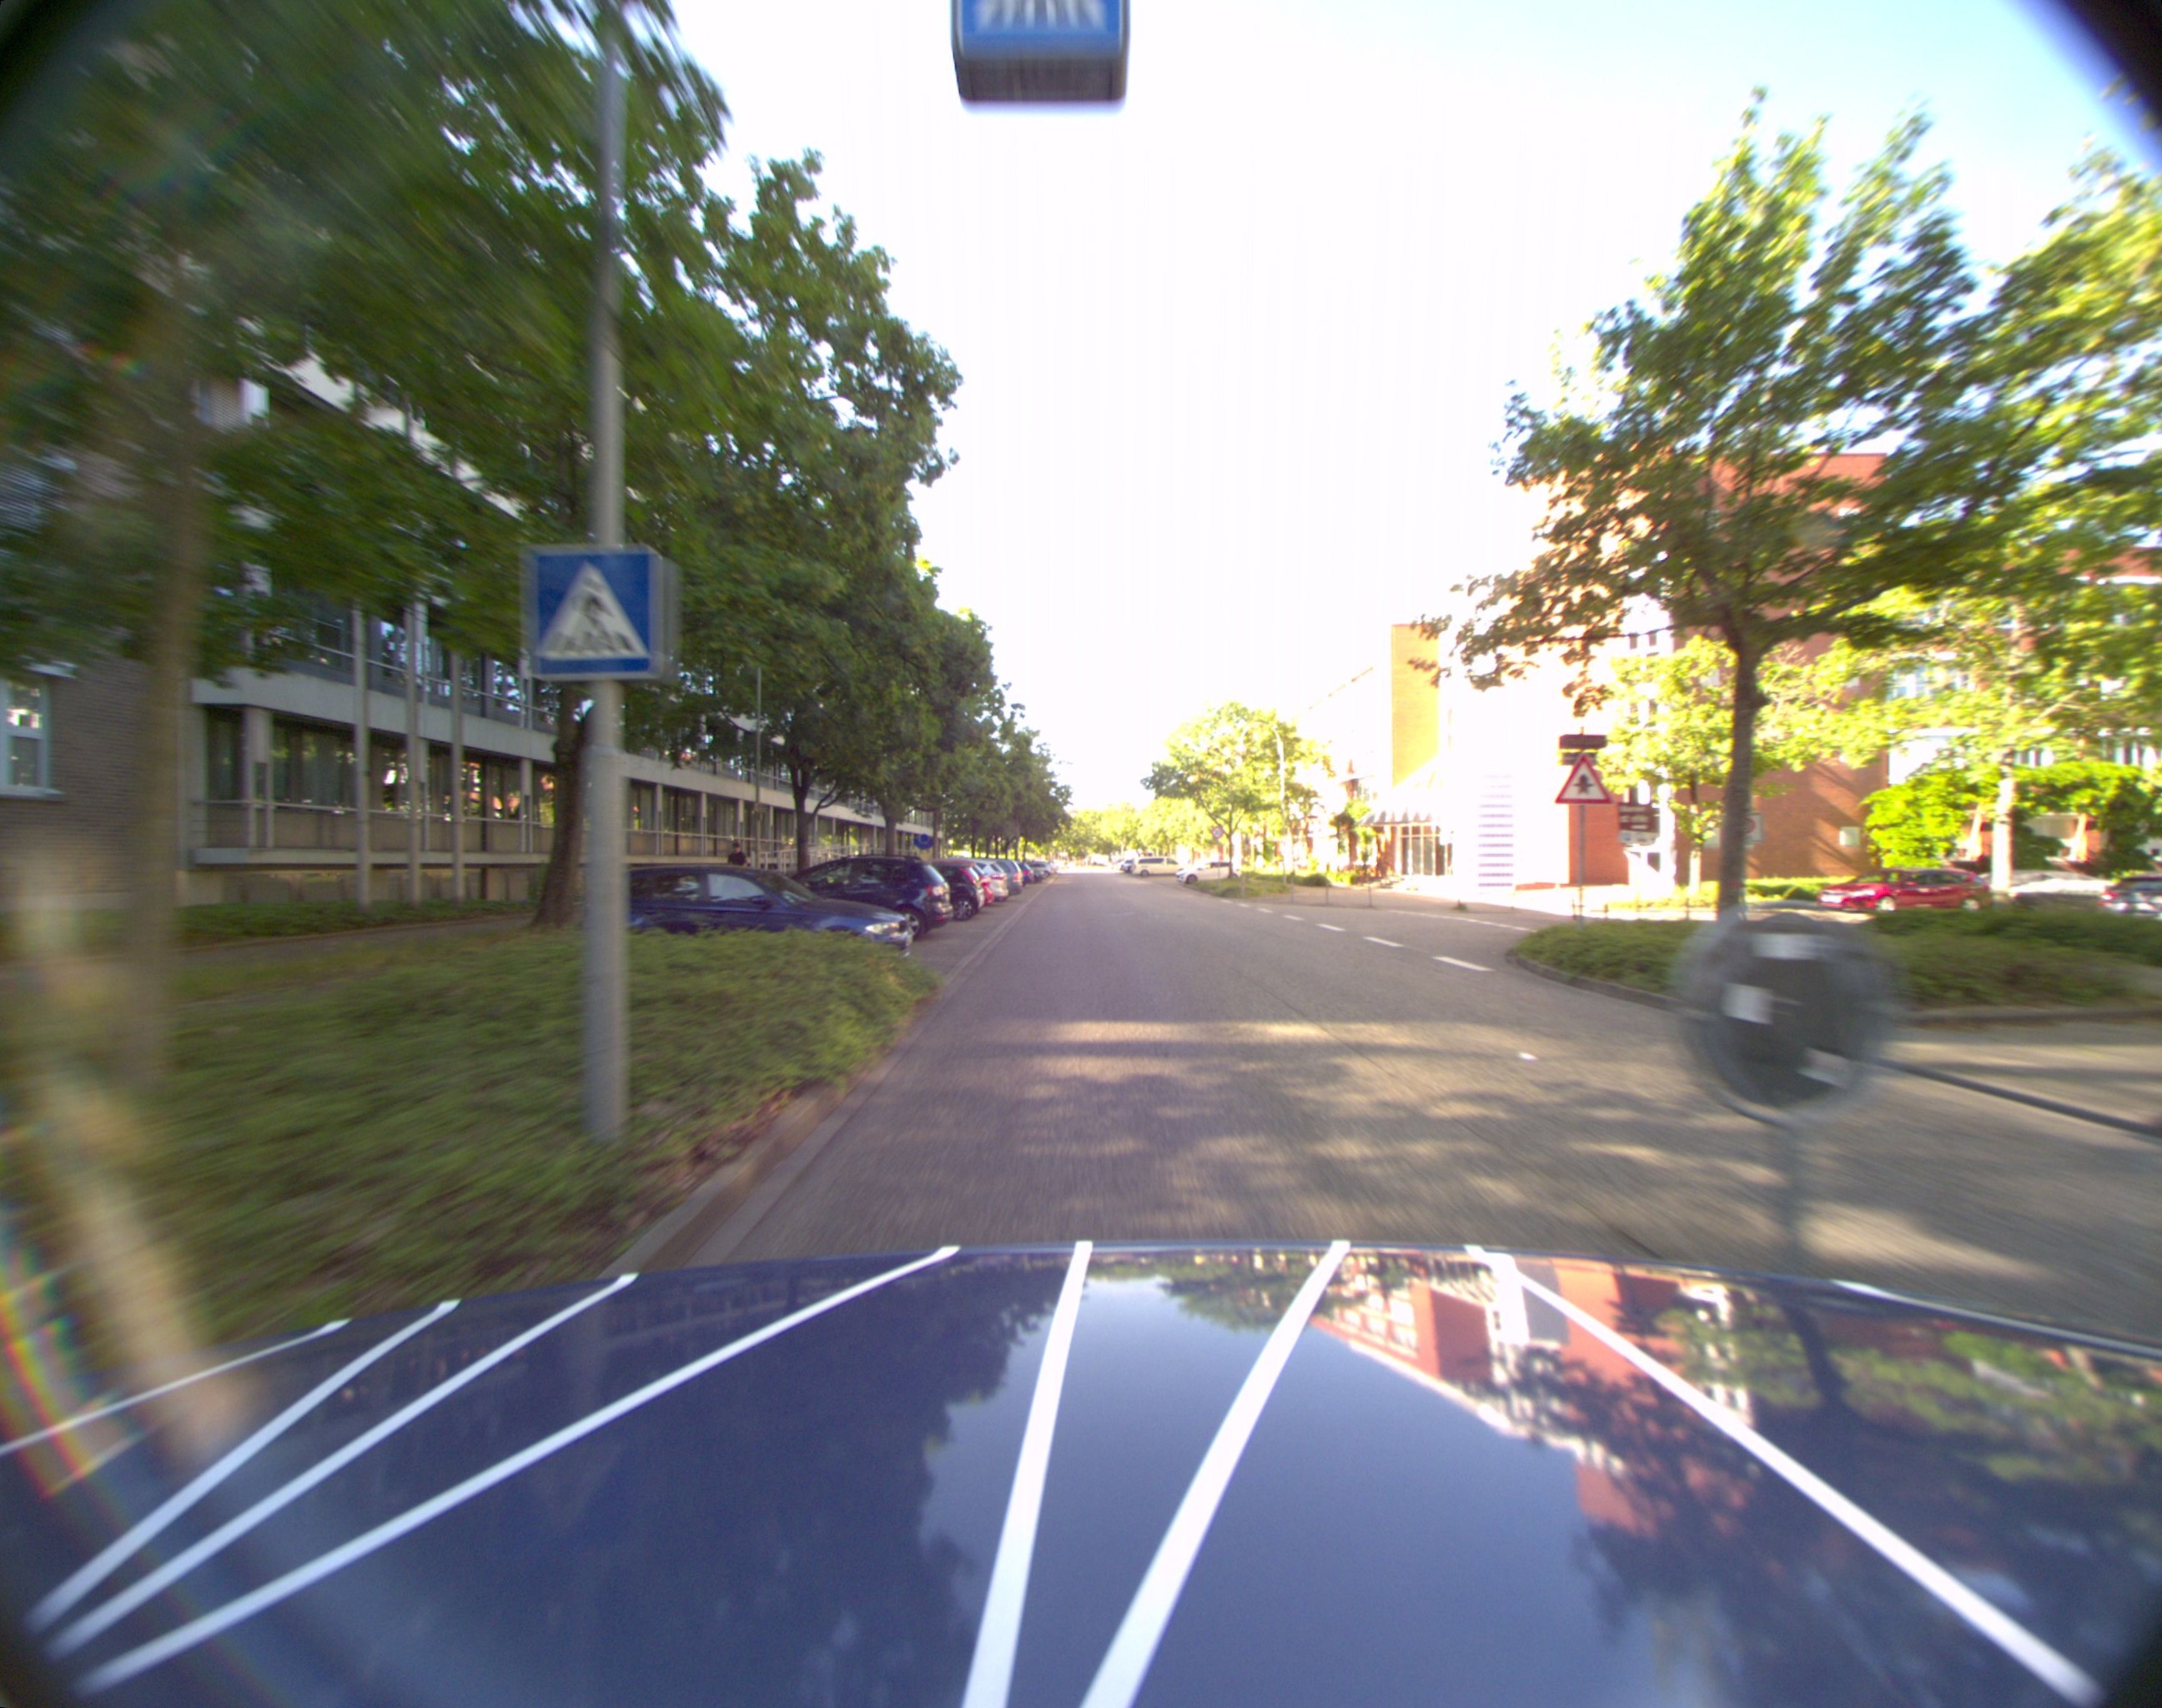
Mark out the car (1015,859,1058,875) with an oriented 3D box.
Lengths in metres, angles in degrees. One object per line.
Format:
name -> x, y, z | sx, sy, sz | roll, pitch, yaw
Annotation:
car -> -4.261, 1.239, 72.936 | 3.998, 1.470, 1.804 | 0, 0, -3

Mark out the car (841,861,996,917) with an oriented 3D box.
car -> -4.531, 0.962, 21.755 | 4.137, 1.508, 1.836 | 0, 0, -5

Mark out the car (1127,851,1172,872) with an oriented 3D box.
car -> 7.357, 0.764, 81.447 | 4.634, 2.156, 2.000 | 0, 0, 1

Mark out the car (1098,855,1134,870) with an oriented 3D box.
car -> 3.928, 0.985, 85.558 | 4.007, 1.637, 1.795 | 0, 0, 1

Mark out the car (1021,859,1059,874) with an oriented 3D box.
car -> -4.361, 1.288, 80.785 | 3.998, 1.470, 1.804 | 1, 0, -3

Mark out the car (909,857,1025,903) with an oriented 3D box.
car -> -4.191, 0.944, 28.455 | 4.137, 1.657, 1.907 | 0, 0, -5

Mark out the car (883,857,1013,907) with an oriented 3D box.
car -> -4.376, 0.911, 25.396 | 3.997, 1.575, 1.714 | 0, 0, 1

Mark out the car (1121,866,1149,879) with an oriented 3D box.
car -> 6.907, 2.368, 97.700 | 3.451, 1.647, 1.594 | 0, 0, -1

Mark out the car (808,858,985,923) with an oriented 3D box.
car -> -4.584, 0.904, 19.383 | 4.137, 1.452, 1.659 | 2, 0, -5

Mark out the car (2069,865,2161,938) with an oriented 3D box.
car -> 24.927, 0.992, 16.496 | 4.721, 1.499, 1.847 | 0, 0, -2

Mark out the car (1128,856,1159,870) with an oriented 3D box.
car -> 7.189, 0.989, 87.522 | 3.451, 1.546, 1.594 | 0, 0, -1

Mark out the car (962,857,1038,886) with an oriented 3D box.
car -> -4.527, 0.978, 42.707 | 3.996, 1.486, 1.714 | 2, 0, 3

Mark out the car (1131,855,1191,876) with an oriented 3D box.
car -> 7.438, 1.065, 71.000 | 5.318, 1.875, 2.000 | 0, 0, 1

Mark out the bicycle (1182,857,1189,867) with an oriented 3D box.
bicycle -> 11.633, 0.907, 84.728 | 0.637, 1.092, 2.155 | -1, 1, 3

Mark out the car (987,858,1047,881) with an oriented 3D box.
car -> -4.294, 1.057, 50.965 | 3.917, 1.374, 1.586 | 2, 1, -4

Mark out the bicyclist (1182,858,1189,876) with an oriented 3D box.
bicyclist -> 11.650, 1.460, 84.651 | 0.633, 2.002, 0.609 | -2, 0, 3

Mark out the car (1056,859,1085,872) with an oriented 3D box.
car -> -1.356, 1.462, 98.153 | 3.555, 1.544, 1.743 | 1, -2, -3

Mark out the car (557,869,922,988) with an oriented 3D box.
car -> -4.371, 0.952, 10.248 | 4.127, 1.362, 1.654 | 2, 0, -4

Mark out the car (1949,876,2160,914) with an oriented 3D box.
car -> 32.481, 1.350, 25.455 | 4.720, 1.180, 1.848 | 0, 0, 0

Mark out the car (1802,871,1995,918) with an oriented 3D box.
car -> 27.067, 1.315, 25.259 | 4.437, 1.443, 1.848 | 0, 0, 0

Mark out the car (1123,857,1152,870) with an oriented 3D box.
car -> 7.136, 1.178, 95.967 | 3.451, 1.619, 1.594 | 0, 0, -1

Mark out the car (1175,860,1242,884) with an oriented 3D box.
car -> 8.115, 1.118, 48.583 | 4.004, 1.411, 1.618 | -1, 0, -1

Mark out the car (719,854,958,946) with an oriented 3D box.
car -> -4.576, 0.857, 14.816 | 4.137, 1.581, 1.659 | 2, 1, -5

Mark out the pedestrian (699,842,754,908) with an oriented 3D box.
pedestrian -> -10.046, 0.577, 21.554 | 1.037, 1.788, 1.018 | -2, 0, -2

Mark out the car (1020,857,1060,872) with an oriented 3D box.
car -> -4.203, 1.050, 77.885 | 3.998, 1.470, 1.804 | 1, 0, -3
